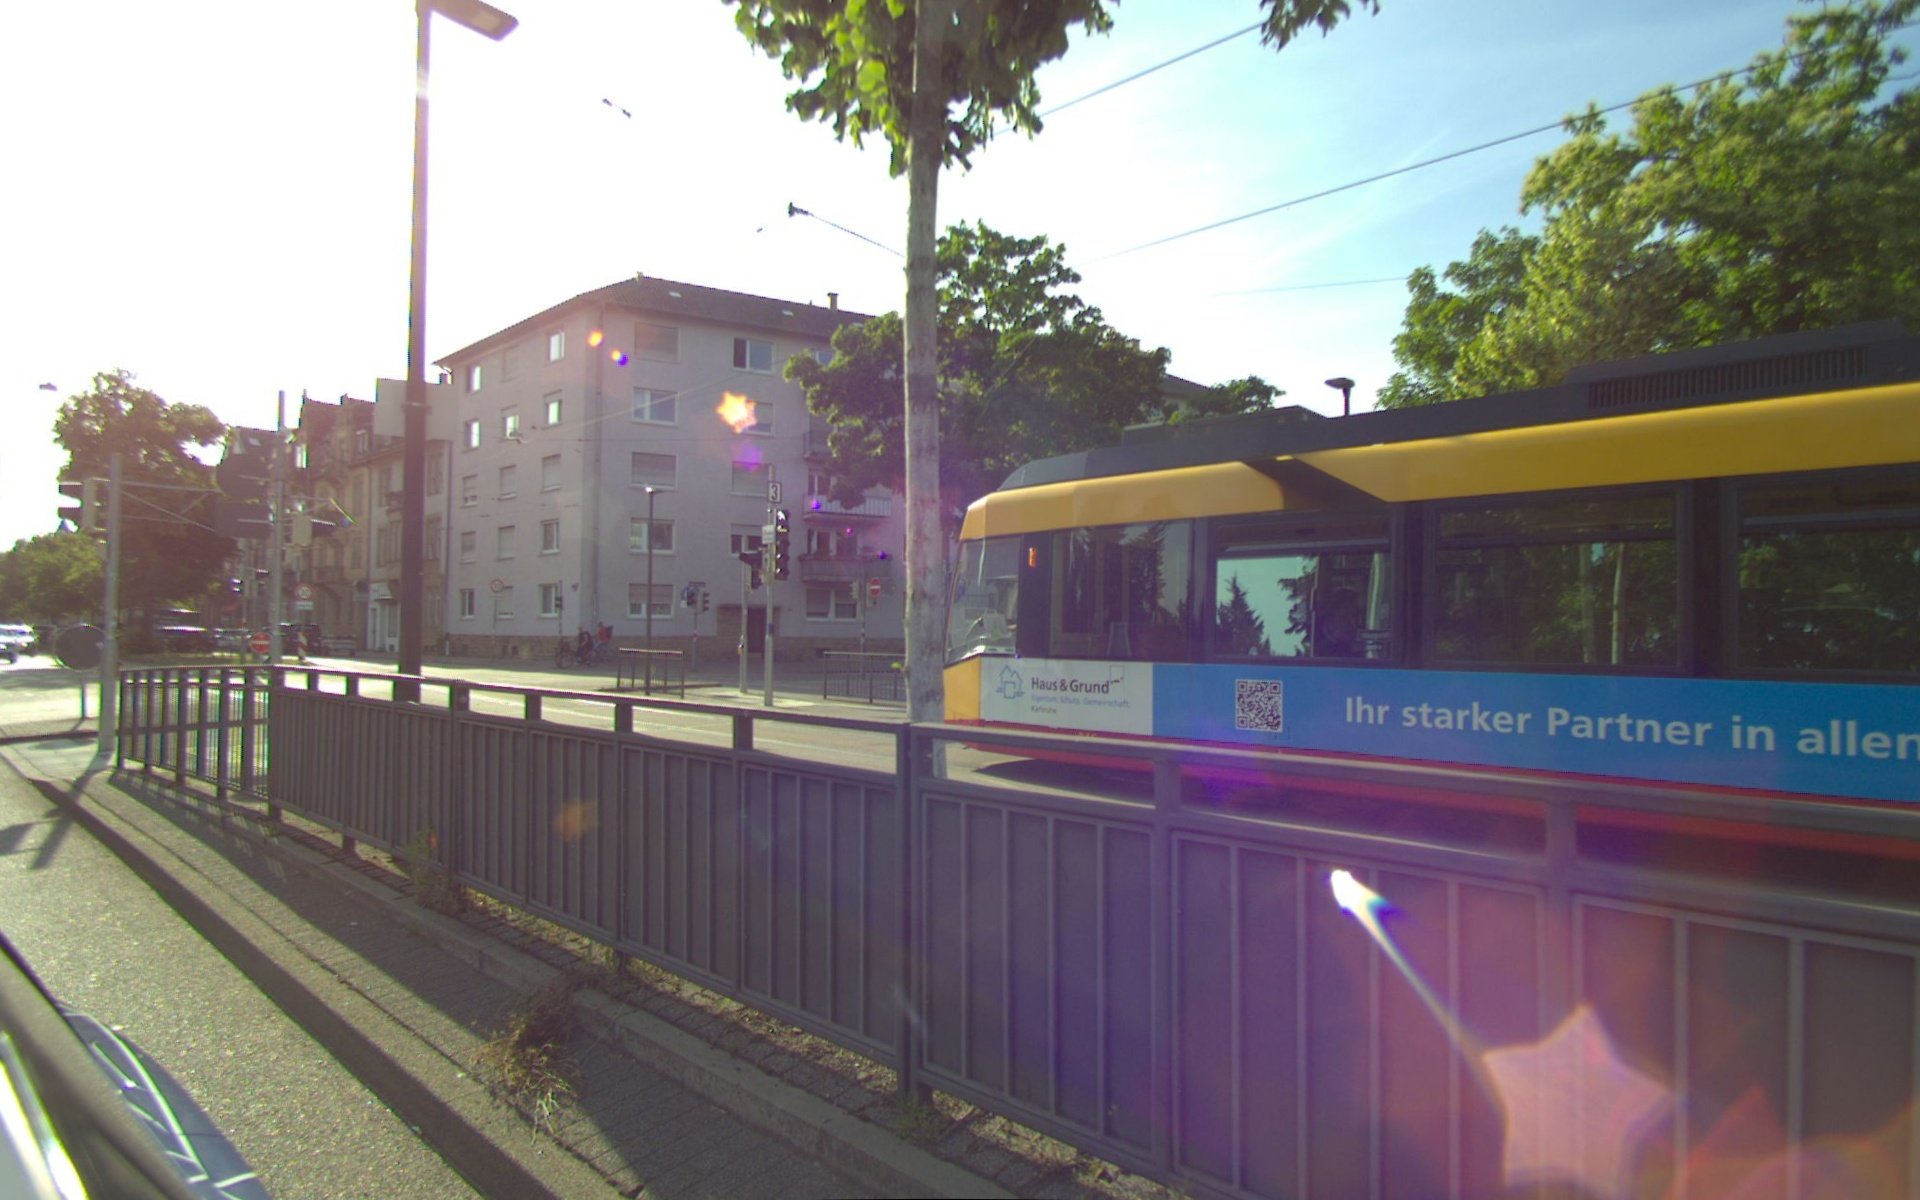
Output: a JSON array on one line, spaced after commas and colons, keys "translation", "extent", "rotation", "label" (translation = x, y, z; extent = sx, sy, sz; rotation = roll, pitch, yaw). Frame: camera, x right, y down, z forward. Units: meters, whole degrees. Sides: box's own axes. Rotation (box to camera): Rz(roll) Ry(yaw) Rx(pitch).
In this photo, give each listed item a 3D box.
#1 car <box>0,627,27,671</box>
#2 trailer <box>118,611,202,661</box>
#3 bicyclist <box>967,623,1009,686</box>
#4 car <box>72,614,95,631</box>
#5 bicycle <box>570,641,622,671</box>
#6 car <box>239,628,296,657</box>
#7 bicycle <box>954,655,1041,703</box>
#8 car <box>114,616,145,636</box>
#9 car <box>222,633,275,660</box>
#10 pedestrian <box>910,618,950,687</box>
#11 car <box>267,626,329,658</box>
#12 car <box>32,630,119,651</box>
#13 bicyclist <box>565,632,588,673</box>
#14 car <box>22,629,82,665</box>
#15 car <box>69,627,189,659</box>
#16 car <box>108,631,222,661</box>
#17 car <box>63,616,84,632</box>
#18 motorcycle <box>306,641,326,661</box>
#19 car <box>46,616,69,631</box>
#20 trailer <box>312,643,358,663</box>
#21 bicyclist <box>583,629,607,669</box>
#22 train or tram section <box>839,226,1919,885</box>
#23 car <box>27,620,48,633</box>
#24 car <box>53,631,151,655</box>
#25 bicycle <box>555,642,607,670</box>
[{"translation": [-36.032, 1.820, 37.587], "extent": [1.970, 1.586, 4.004], "rotation": [1, -2, -43], "label": "car"}, {"translation": [-39.792, 1.796, 50.386], "extent": [2.817, 2.410, 1.728], "rotation": [0, -2, -16], "label": "trailer"}, {"translation": [0.651, 1.248, 23.505], "extent": [0.643, 1.424, 0.717], "rotation": [1, -3, -45], "label": "bicyclist"}, {"translation": [-109.838, 2.802, 126.785], "extent": [1.970, 2.029, 4.003], "rotation": [1, -3, -44], "label": "car"}, {"translation": [-15.187, 2.317, 42.211], "extent": [1.946, 1.212, 0.737], "rotation": [0, -2, -27], "label": "bicycle"}, {"translation": [-43.972, 2.710, 64.223], "extent": [4.613, 1.763, 2.140], "rotation": [-2, -3, 45], "label": "car"}, {"translation": [0.841, 1.804, 23.365], "extent": [0.535, 1.026, 2.252], "rotation": [1, -3, -44], "label": "bicycle"}, {"translation": [-87.035, 2.732, 106.047], "extent": [4.000, 2.029, 1.972], "rotation": [-2, -2, 43], "label": "car"}, {"translation": [-47.713, 3.078, 67.827], "extent": [4.613, 1.763, 2.140], "rotation": [-2, -3, 45], "label": "car"}, {"translation": [-0.851, 1.473, 28.884], "extent": [0.705, 1.924, 0.995], "rotation": [-2, -2, 29], "label": "pedestrian"}, {"translation": [-39.152, 2.458, 59.790], "extent": [2.140, 1.763, 4.720], "rotation": [1, -3, -45], "label": "car"}, {"translation": [-63.199, 2.904, 72.342], "extent": [4.206, 1.433, 2.175], "rotation": [0, -2, -6], "label": "car"}, {"translation": [-15.531, 2.113, 40.982], "extent": [0.760, 1.655, 0.797], "rotation": [2, -3, -27], "label": "bicyclist"}, {"translation": [-41.770, 2.148, 46.535], "extent": [1.970, 1.586, 4.004], "rotation": [1, -2, -43], "label": "car"}, {"translation": [-45.747, 2.376, 55.808], "extent": [4.645, 1.703, 2.174], "rotation": [1, -2, -5], "label": "car"}, {"translation": [-37.620, 2.192, 47.967], "extent": [3.888, 1.370, 1.677], "rotation": [1, -2, -12], "label": "car"}, {"translation": [-117.994, 3.168, 134.687], "extent": [1.970, 2.029, 4.003], "rotation": [1, -3, -44], "label": "car"}, {"translation": [-36.229, 2.837, 56.940], "extent": [0.626, 1.088, 1.739], "rotation": [0, -2, -23], "label": "motorcycle"}, {"translation": [-127.450, 3.325, 142.907], "extent": [3.999, 2.029, 1.972], "rotation": [-2, -2, 42], "label": "car"}, {"translation": [-34.228, 2.899, 55.411], "extent": [2.879, 0.903, 1.425], "rotation": [-2, 2, 43], "label": "trailer"}, {"translation": [-15.210, 2.035, 42.158], "extent": [0.839, 1.655, 0.816], "rotation": [1, -2, -27], "label": "bicyclist"}, {"translation": [5.044, -0.178, 7.557], "extent": [14.530, 3.506, 3.127], "rotation": [-2, -2, 43], "label": "train or tram section"}, {"translation": [-143.482, 4.178, 157.409], "extent": [3.999, 2.029, 1.972], "rotation": [-2, -2, 42], "label": "car"}, {"translation": [-52.956, 2.654, 62.529], "extent": [4.240, 1.433, 1.962], "rotation": [0, -2, -6], "label": "car"}, {"translation": [-15.375, 2.271, 41.074], "extent": [1.883, 1.119, 0.737], "rotation": [2, -4, -26], "label": "bicycle"}]
